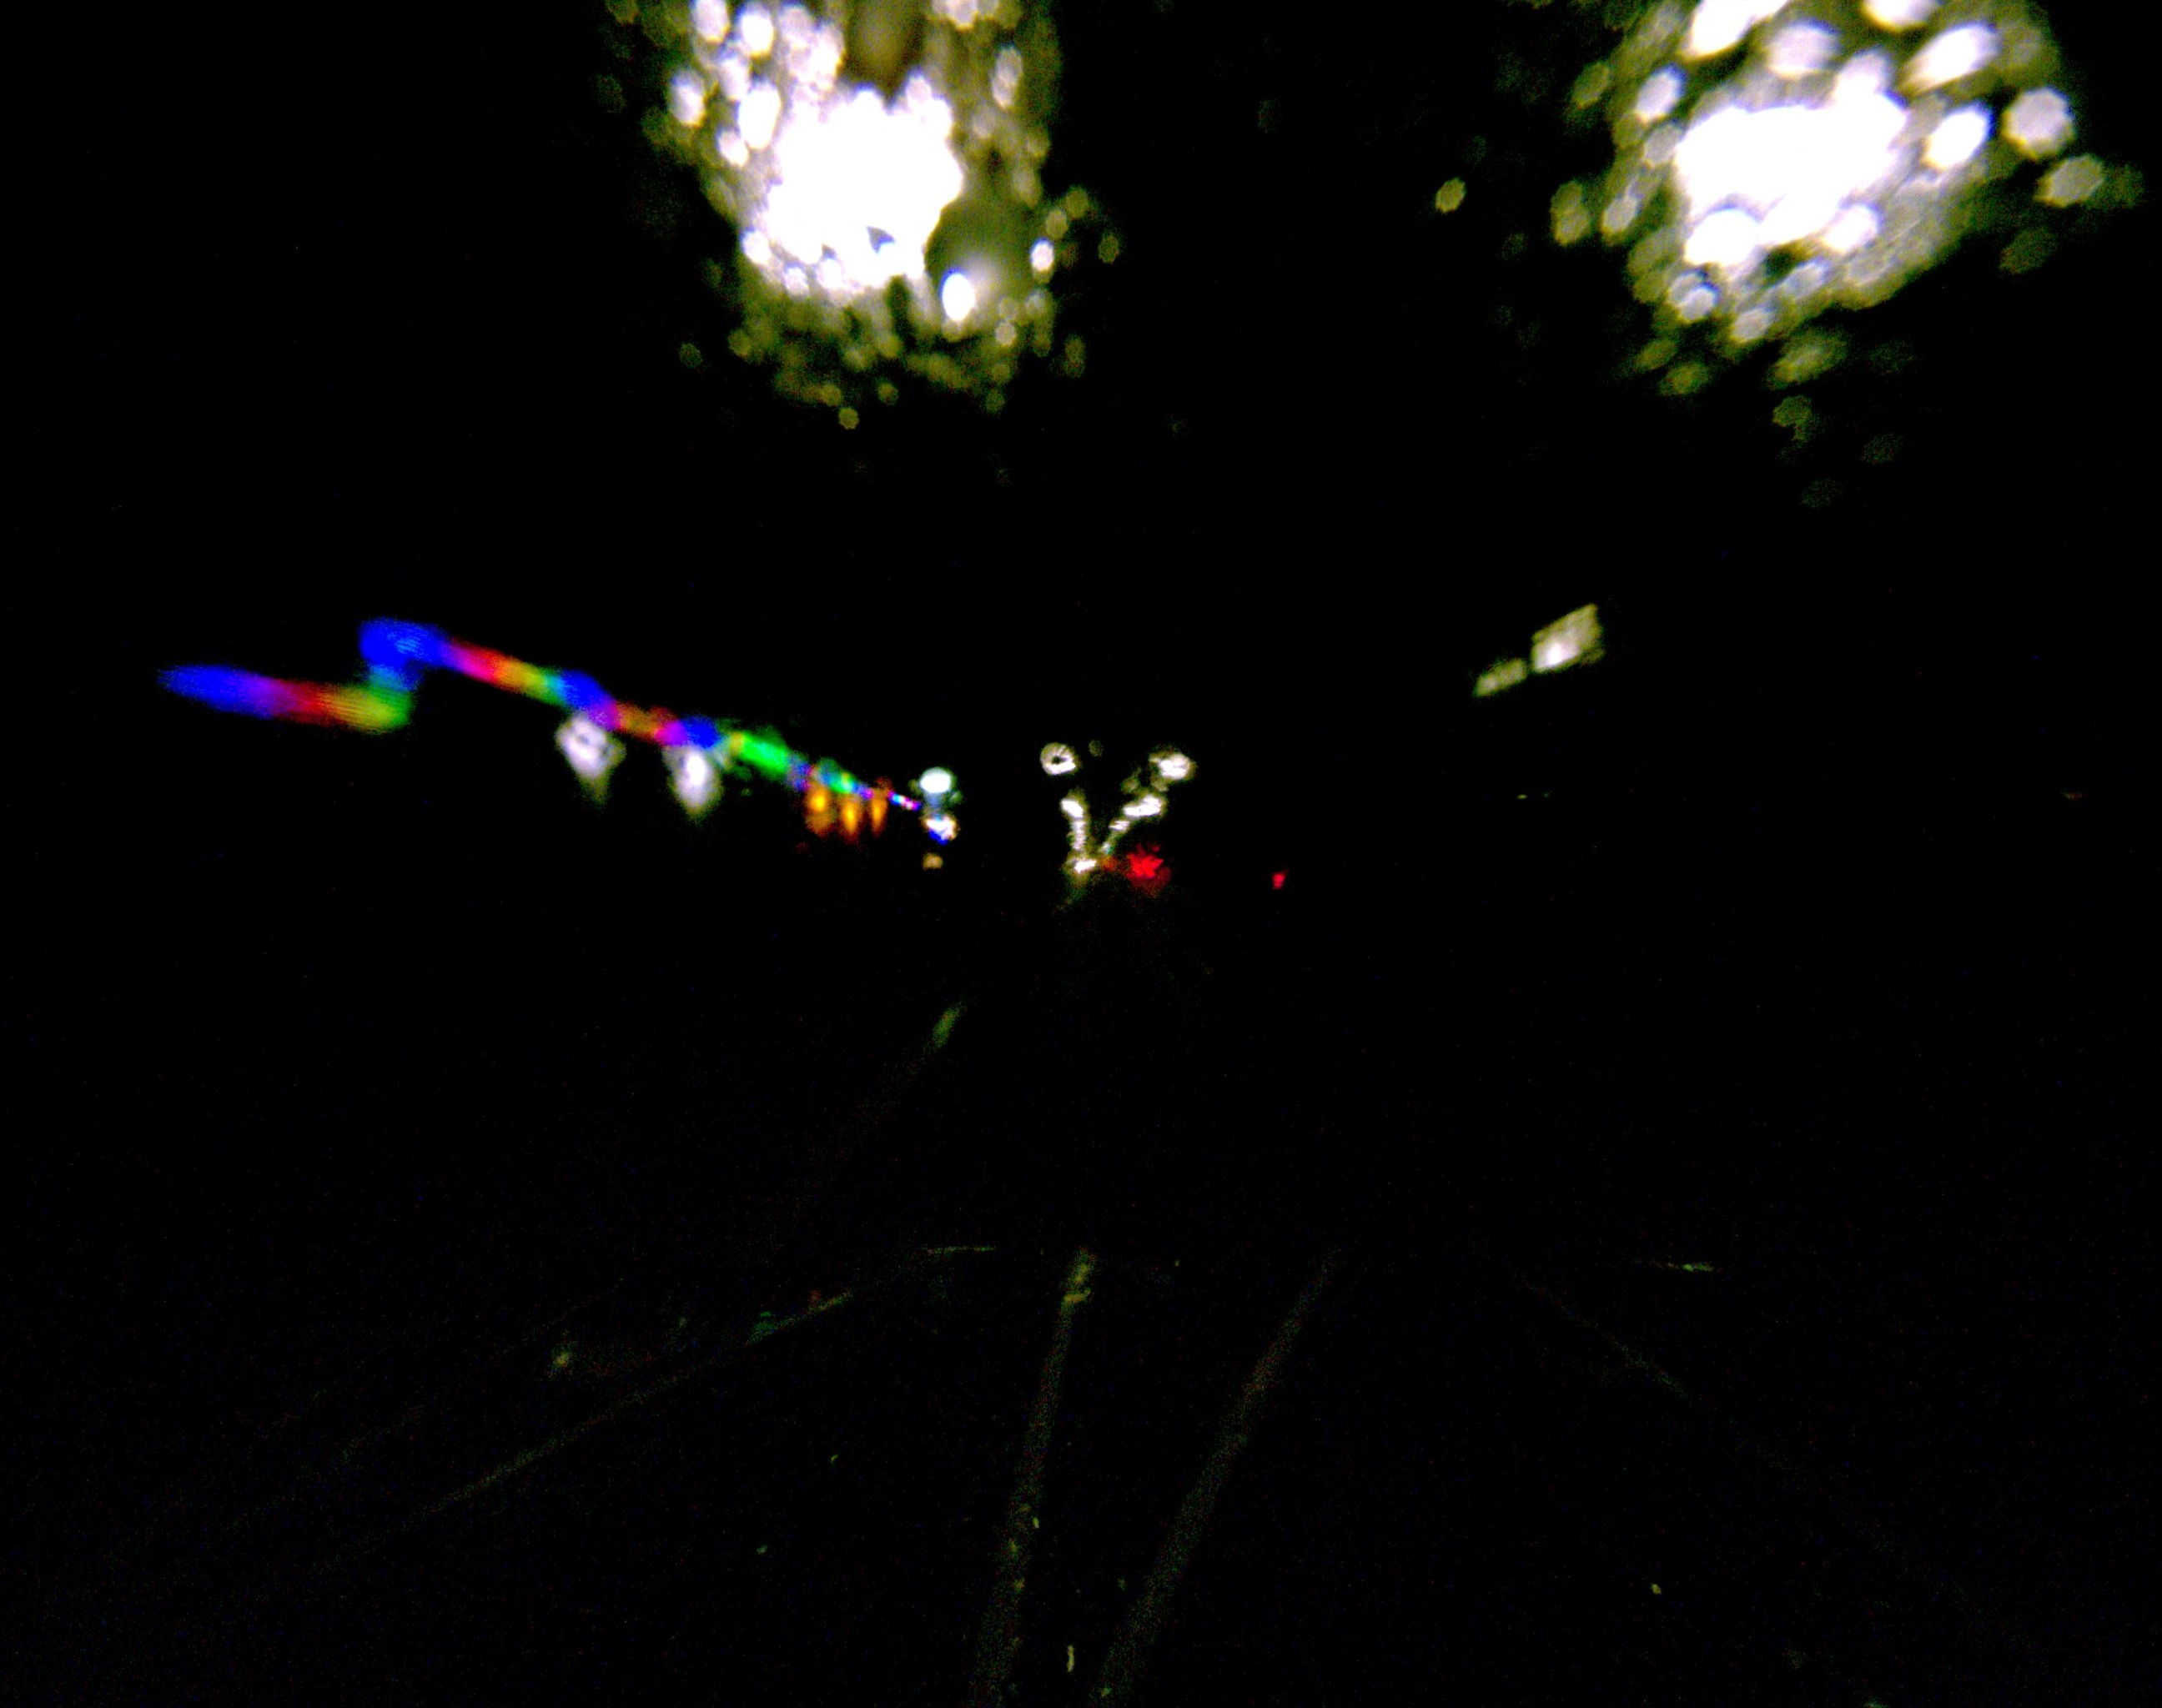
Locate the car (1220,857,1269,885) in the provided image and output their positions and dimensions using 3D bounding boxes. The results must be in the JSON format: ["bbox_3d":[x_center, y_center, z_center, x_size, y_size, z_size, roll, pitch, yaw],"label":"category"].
[{"bbox_3d":[10.270,1.035,48.022,1.885,1.536,4.398,-5,1,-2],"label":"car"}]

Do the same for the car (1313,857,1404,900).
[{"bbox_3d":[9.840,0.827,27.266,1.695,1.413,3.913,-1,0,-2],"label":"car"}]

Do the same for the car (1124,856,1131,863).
[{"bbox_3d":[11.947,1.463,196.078,1.693,1.565,3.918,-2,0,1],"label":"car"}]

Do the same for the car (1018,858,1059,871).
[{"bbox_3d":[-5.055,1.285,91.159,4.604,1.467,1.837,-1,0,-19],"label":"car"}]

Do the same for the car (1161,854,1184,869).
[{"bbox_3d":[11.001,0.897,91.555,2.149,1.610,4.589,-4,0,0],"label":"car"}]

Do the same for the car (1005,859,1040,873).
[{"bbox_3d":[-6.756,1.374,87.793,3.708,1.509,1.656,-1,0,-17],"label":"car"}]

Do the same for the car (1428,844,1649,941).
[{"bbox_3d":[9.371,0.684,16.128,1.974,1.646,4.601,-4,0,2],"label":"car"}]

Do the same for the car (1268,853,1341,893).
[{"bbox_3d":[10.009,0.810,34.420,1.988,1.621,4.517,-2,0,1],"label":"car"}]

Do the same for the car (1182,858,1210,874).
[{"bbox_3d":[10.682,1.090,70.807,1.845,1.415,4.208,-1,0,-2],"label":"car"}]

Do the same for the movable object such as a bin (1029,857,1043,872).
[{"bbox_3d":[-4.345,1.018,72.780,1.326,1.400,1.159,0,1,-4],"label":"movable object such as a bin"}]

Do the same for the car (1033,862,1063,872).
[{"bbox_3d":[-5.149,2.037,118.741,4.349,1.459,1.677,-2,0,-37],"label":"car"}]

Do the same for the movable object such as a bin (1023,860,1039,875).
[{"bbox_3d":[-4.649,1.233,70.535,1.371,1.414,1.073,0,1,6],"label":"movable object such as a bin"}]

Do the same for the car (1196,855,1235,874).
[{"bbox_3d":[10.640,0.806,60.457,1.893,1.454,4.958,-1,0,-3],"label":"car"}]

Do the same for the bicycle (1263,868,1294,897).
[{"bbox_3d":[7.946,1.130,30.606,0.784,1.076,1.918,0,1,1],"label":"bicycle"}]

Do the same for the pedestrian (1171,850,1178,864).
[{"bbox_3d":[13.163,0.468,106.491,0.794,1.890,1.291,-2,1,1],"label":"pedestrian"}]

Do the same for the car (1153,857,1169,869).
[{"bbox_3d":[10.560,1.199,100.780,1.735,1.430,4.626,-2,0,1],"label":"car"}]

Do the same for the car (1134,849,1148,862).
[{"bbox_3d":[12.117,0.308,153.809,2.248,2.494,5.259,-4,0,-2],"label":"car"}]

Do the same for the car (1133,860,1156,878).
[{"bbox_3d":[5.711,1.318,68.581,1.780,1.509,4.051,-2,0,1],"label":"car"}]

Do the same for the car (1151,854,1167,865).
[{"bbox_3d":[11.482,0.805,111.661,1.814,1.569,4.353,-5,0,1],"label":"car"}]

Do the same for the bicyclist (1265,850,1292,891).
[{"bbox_3d":[7.948,0.650,30.601,0.784,1.646,1.206,0,1,1],"label":"bicyclist"}]

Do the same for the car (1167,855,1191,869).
[{"bbox_3d":[10.322,0.837,80.245,1.778,1.432,4.606,-1,0,-3],"label":"car"}]

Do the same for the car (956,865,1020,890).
[{"bbox_3d":[-6.614,1.667,54.167,4.111,1.528,1.956,-2,1,-24],"label":"car"}]
